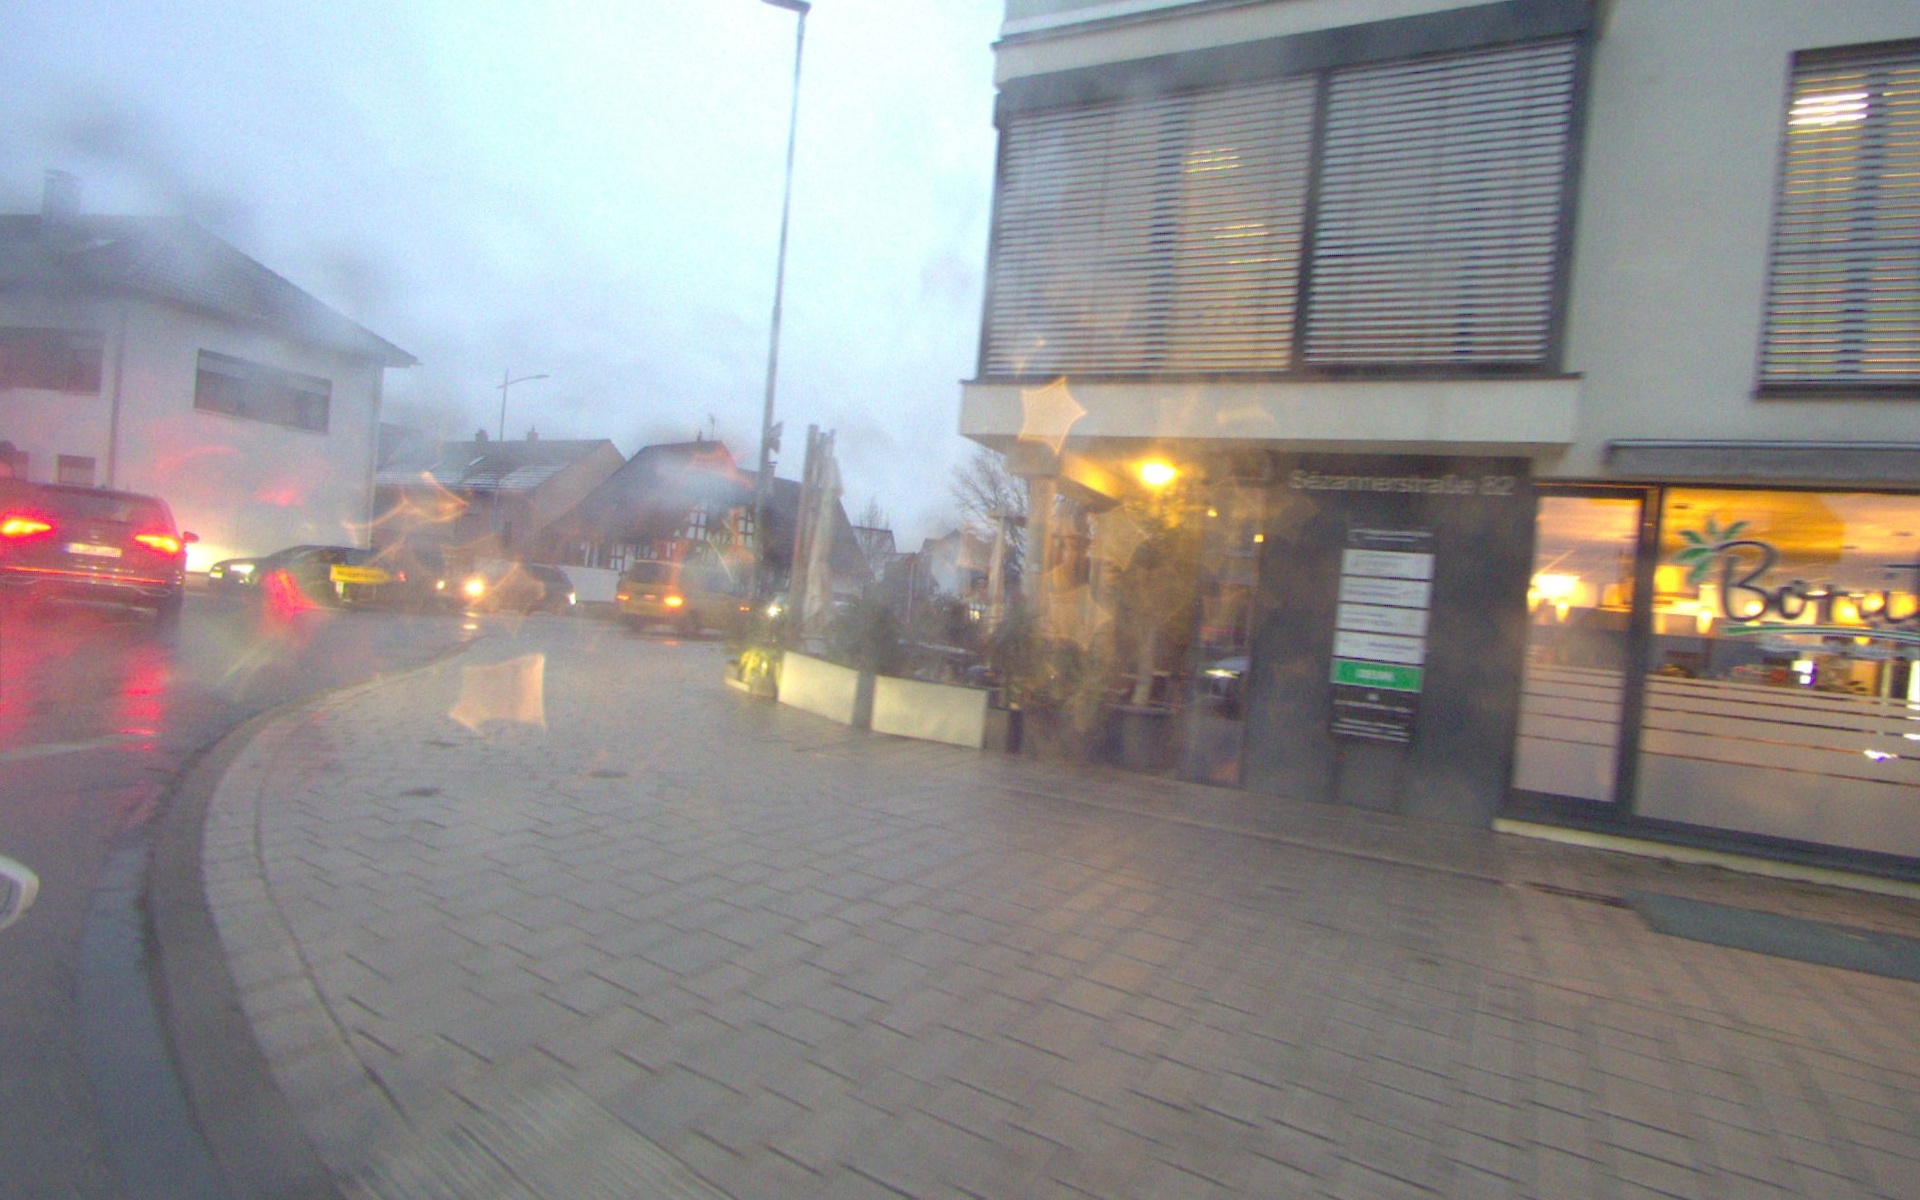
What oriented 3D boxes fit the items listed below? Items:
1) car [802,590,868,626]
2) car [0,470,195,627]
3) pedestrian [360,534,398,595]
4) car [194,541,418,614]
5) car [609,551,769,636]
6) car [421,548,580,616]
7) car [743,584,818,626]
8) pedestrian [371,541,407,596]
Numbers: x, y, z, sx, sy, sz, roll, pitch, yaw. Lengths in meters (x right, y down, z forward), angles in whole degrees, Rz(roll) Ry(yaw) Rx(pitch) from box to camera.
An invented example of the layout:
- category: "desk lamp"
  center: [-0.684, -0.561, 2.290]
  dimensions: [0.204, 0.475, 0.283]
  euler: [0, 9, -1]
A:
- category: "car"
  center: [-6.506, 0.462, 52.720]
  dimensions: [1.643, 1.569, 3.714]
  euler: [6, 0, 24]
- category: "car"
  center: [-11.464, -0.697, 13.243]
  dimensions: [1.908, 1.635, 3.905]
  euler: [6, 0, -41]
- category: "pedestrian"
  center: [-18.952, -1.158, 32.811]
  dimensions: [0.628, 1.855, 0.714]
  euler: [9, 2, 38]
- category: "car"
  center: [-16.059, -0.518, 24.920]
  dimensions: [1.821, 1.400, 4.224]
  euler: [3, -2, 32]
- category: "car"
  center: [-7.659, -0.094, 29.015]
  dimensions: [1.962, 2.038, 4.900]
  euler: [6, 0, 18]
- category: "car"
  center: [-13.451, -0.495, 29.679]
  dimensions: [1.668, 1.570, 3.994]
  euler: [5, -1, 29]
- category: "car"
  center: [-7.627, 0.246, 43.217]
  dimensions: [1.664, 1.526, 4.261]
  euler: [5, -1, 11]
- category: "pedestrian"
  center: [-18.294, -1.005, 32.221]
  dimensions: [0.574, 1.642, 0.714]
  euler: [7, 1, 38]
